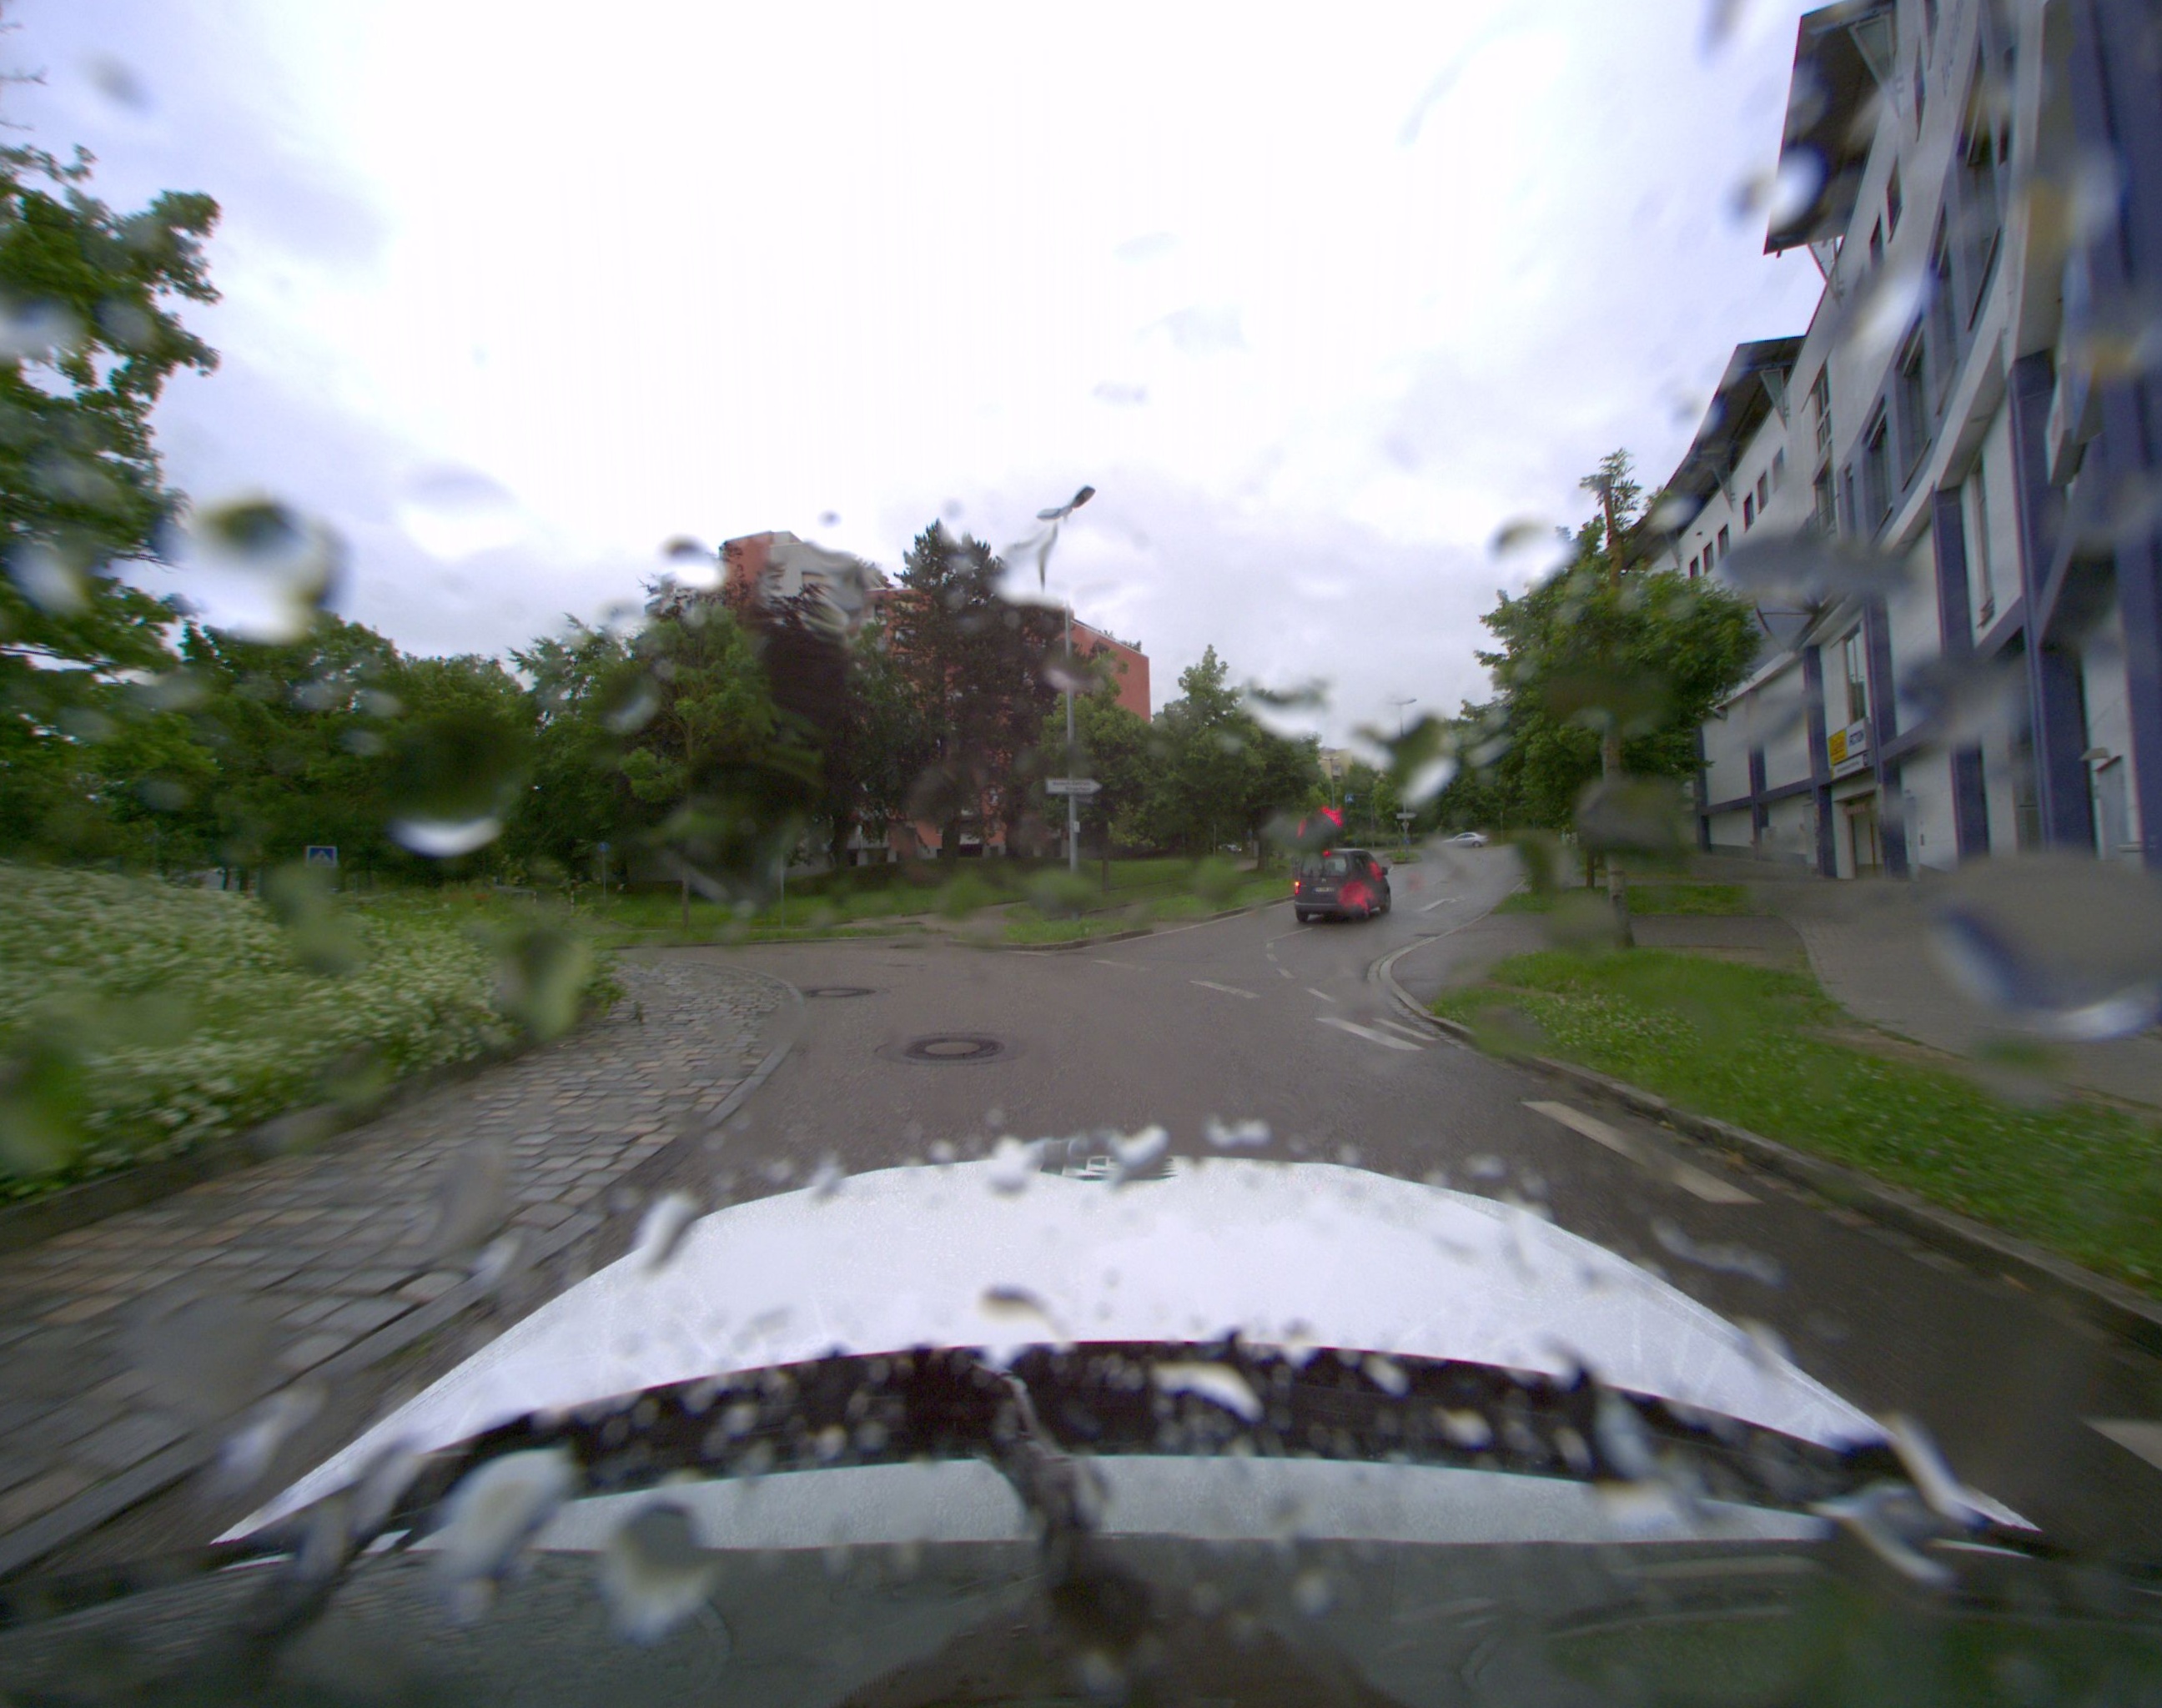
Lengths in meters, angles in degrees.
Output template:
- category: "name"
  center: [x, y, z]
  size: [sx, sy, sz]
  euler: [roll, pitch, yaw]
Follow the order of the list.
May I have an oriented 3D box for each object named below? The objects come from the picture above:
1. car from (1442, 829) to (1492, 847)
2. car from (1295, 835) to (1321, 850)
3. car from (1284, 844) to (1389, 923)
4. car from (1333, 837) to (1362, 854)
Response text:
- category: "car"
  center: [36.841, -1.511, 77.780]
  size: [3.948, 1.565, 1.898]
  euler: [-3, -2, 35]
- category: "car"
  center: [30.809, -1.532, 110.412]
  size: [1.992, 1.873, 3.990]
  euler: [-1, -2, -7]
- category: "car"
  center: [6.801, 0.712, 21.413]
  size: [1.900, 1.801, 3.813]
  euler: [-3, 1, 28]
- category: "car"
  center: [33.181, -1.067, 101.523]
  size: [1.845, 1.873, 3.849]
  euler: [-1, -2, -9]
